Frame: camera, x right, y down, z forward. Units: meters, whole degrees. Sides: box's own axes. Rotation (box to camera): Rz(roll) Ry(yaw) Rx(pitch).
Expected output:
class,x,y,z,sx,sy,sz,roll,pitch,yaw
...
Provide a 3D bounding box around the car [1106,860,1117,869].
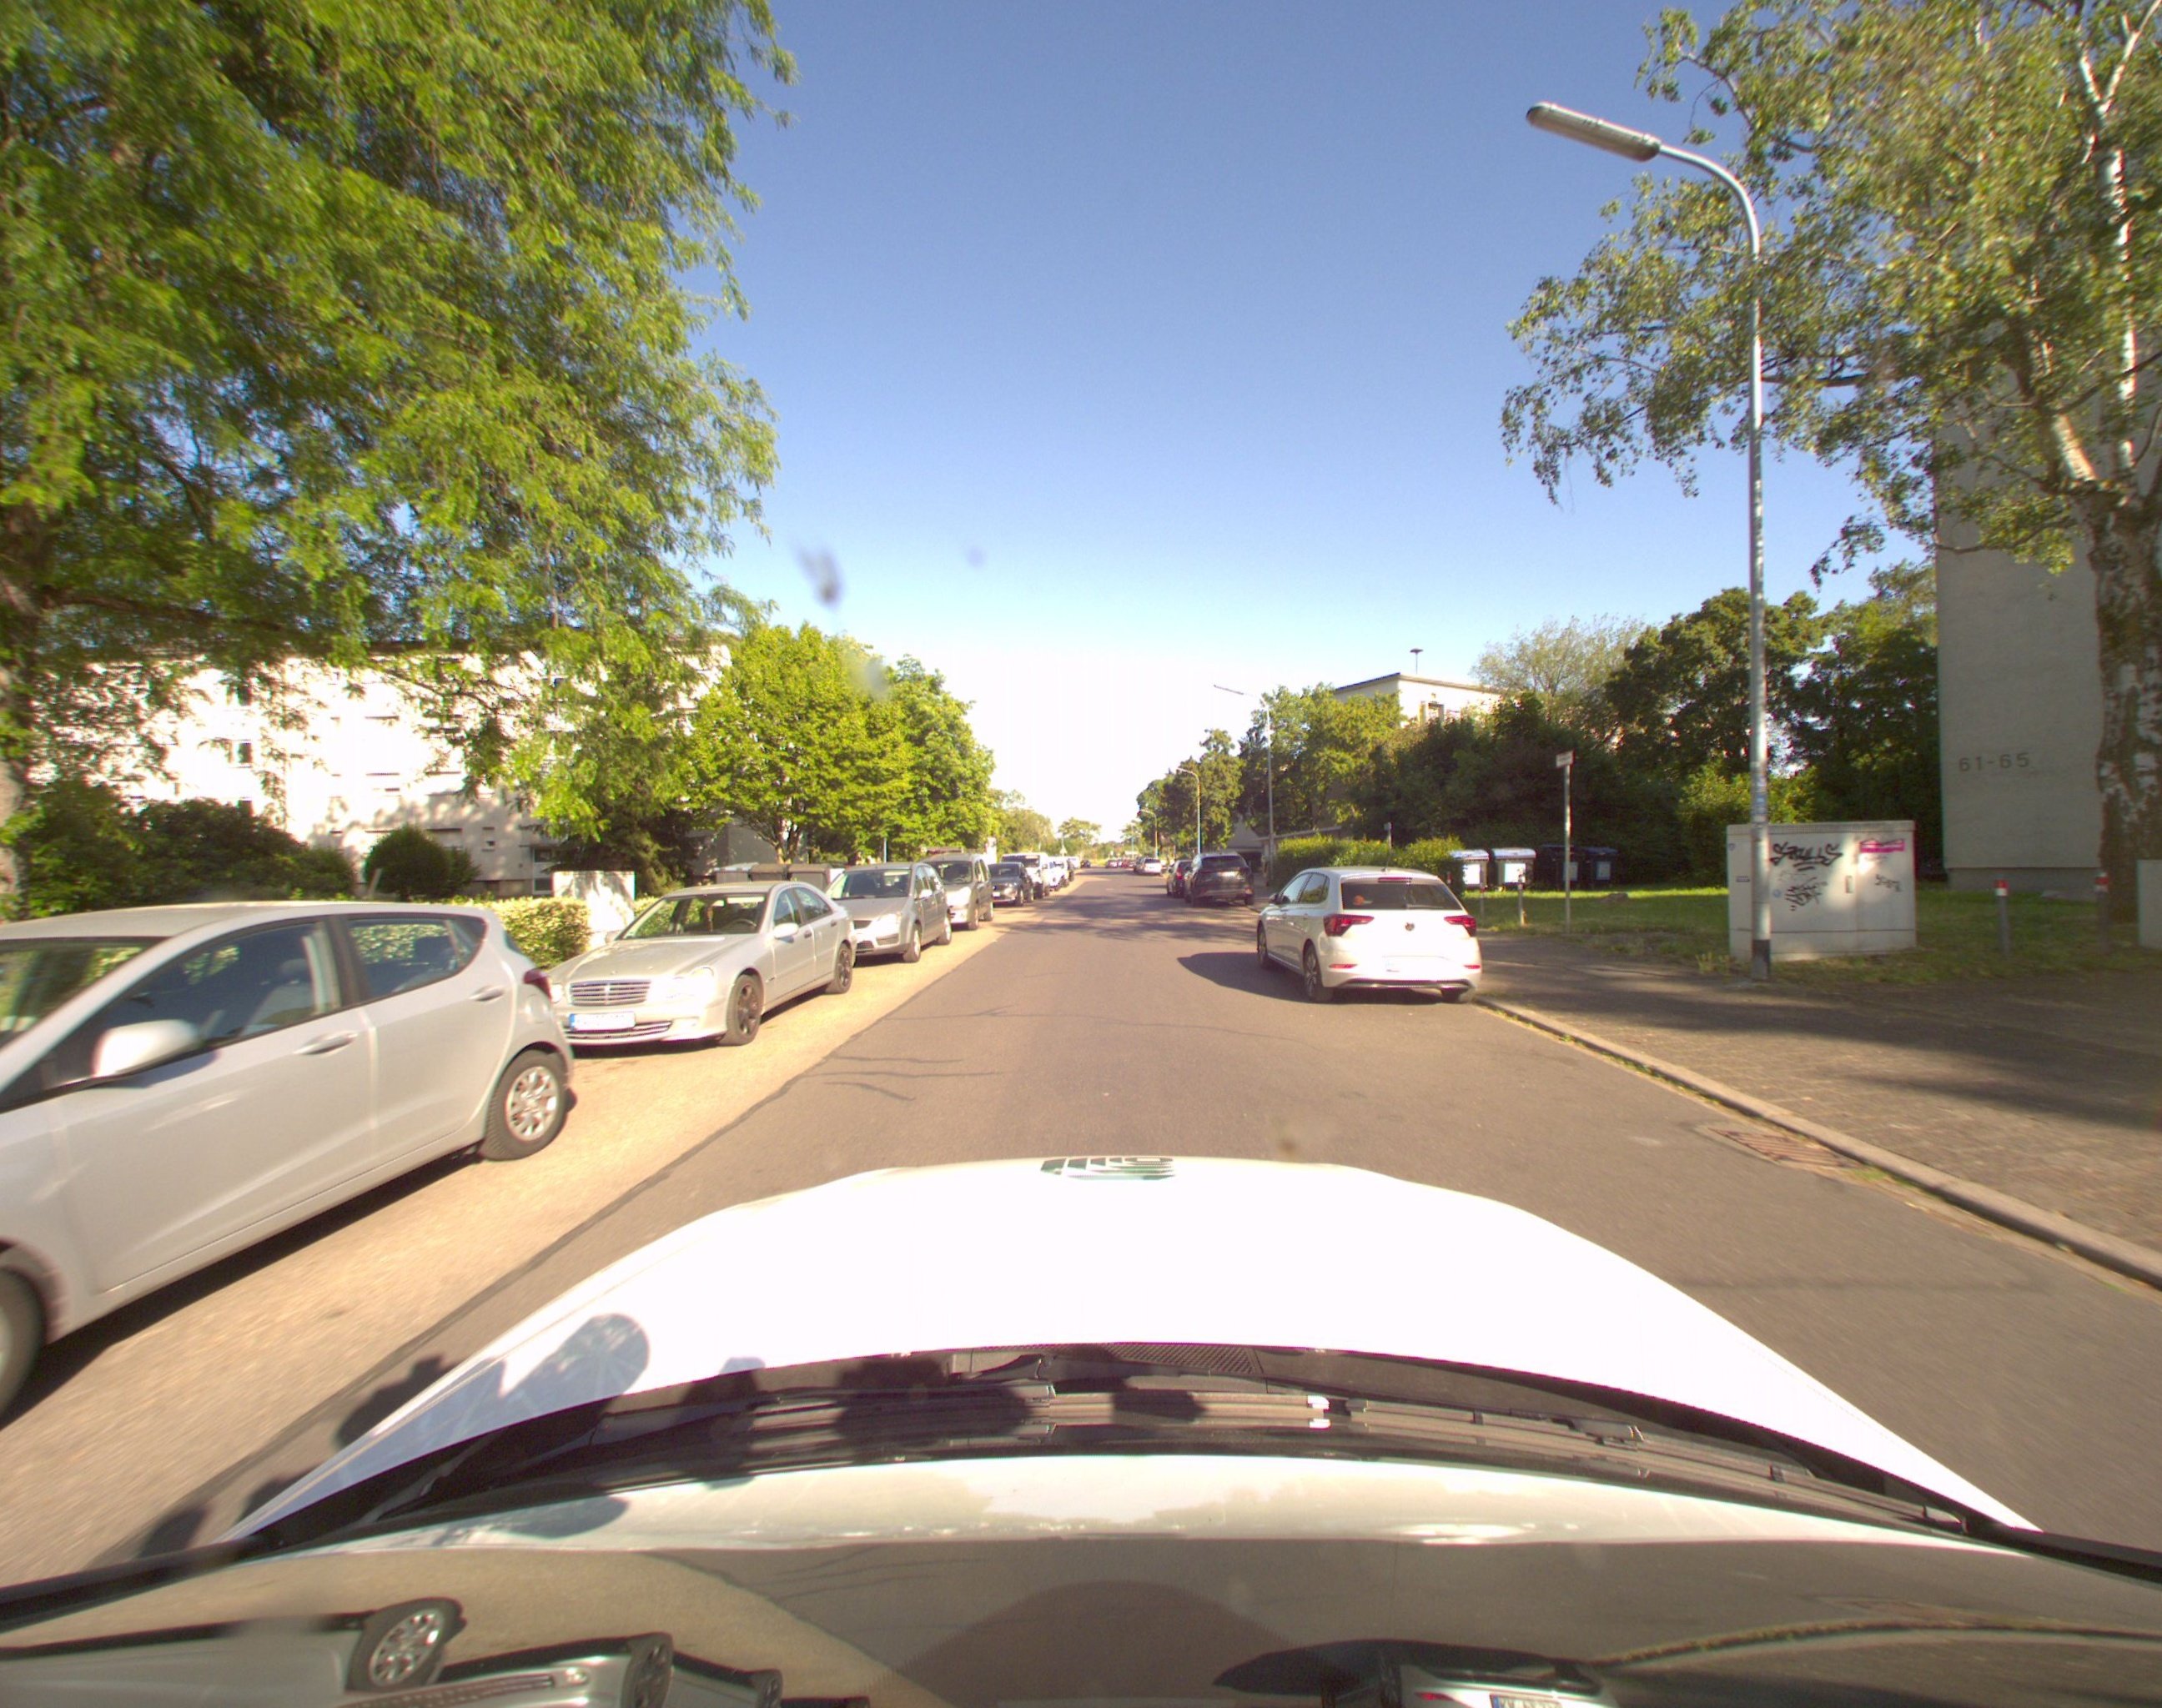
class,x,y,z,sx,sy,sz,roll,pitch,yaw
car,4.921,1.667,131.052,1.674,1.513,4.103,1,0,0

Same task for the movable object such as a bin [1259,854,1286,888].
class,x,y,z,sx,sy,sz,roll,pitch,yaw
movable object such as a bin,8.630,0.759,36.764,0.913,1.454,1.233,-1,-1,2

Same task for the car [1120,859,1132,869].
class,x,y,z,sx,sy,sz,roll,pitch,yaw
car,7.431,1.604,134.755,1.790,1.643,3.951,0,-1,0

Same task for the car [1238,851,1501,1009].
class,x,y,z,sx,sy,sz,roll,pitch,yaw
car,3.183,0.751,9.909,1.748,1.513,4.103,1,0,0

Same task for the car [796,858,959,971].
class,x,y,z,sx,sy,sz,roll,pitch,yaw
car,-3.351,0.921,14.213,1.704,1.600,3.986,-3,-1,1

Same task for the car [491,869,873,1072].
class,x,y,z,sx,sy,sz,roll,pitch,yaw
car,-3.757,0.972,8.739,1.680,1.465,4.527,-3,-1,2

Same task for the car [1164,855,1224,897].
class,x,y,z,sx,sy,sz,roll,pitch,yaw
car,4.355,0.820,31.946,1.900,1.531,4.330,0,-1,2

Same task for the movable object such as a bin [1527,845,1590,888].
class,x,y,z,sx,sy,sz,roll,pitch,yaw
movable object such as a bin,15.539,0.414,26.541,1.253,1.353,1.276,-1,0,-6

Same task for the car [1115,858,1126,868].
class,x,y,z,sx,sy,sz,roll,pitch,yaw
car,6.963,1.562,144.708,1.790,1.643,3.951,0,0,0

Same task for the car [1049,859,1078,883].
class,x,y,z,sx,sy,sz,roll,pitch,yaw
car,-1.231,1.188,59.181,1.739,1.613,4.310,-2,-1,2

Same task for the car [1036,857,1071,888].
class,x,y,z,sx,sy,sz,roll,pitch,yaw
car,-1.638,1.102,49.323,1.739,1.732,4.007,-2,-1,2

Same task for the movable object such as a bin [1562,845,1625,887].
class,x,y,z,sx,sy,sz,roll,pitch,yaw
movable object such as a bin,16.983,0.402,27.023,1.254,1.353,1.275,-1,0,-8

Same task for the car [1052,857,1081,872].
class,x,y,z,sx,sy,sz,roll,pitch,yaw
car,-2.096,1.490,114.545,4.044,1.992,1.800,0,-1,-3

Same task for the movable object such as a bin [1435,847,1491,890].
class,x,y,z,sx,sy,sz,roll,pitch,yaw
movable object such as a bin,12.451,0.460,26.590,1.250,1.353,1.279,-1,0,1

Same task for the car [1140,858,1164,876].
class,x,y,z,sx,sy,sz,roll,pitch,yaw
car,6.232,1.163,72.171,1.790,1.562,3.951,0,-1,0

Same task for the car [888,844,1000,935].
class,x,y,z,sx,sy,sz,roll,pitch,yaw
car,-3.207,0.790,19.950,1.848,1.892,4.418,-2,-1,1

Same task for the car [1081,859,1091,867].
class,x,y,z,sx,sy,sz,roll,pitch,yaw
car,0.831,1.635,147.246,1.790,1.562,3.951,0,-1,0

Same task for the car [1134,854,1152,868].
class,x,y,z,sx,sy,sz,roll,pitch,yaw
car,6.990,0.803,92.466,1.790,1.643,3.951,0,-1,0

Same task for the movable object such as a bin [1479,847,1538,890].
class,x,y,z,sx,sy,sz,roll,pitch,yaw
movable object such as a bin,13.831,0.459,26.383,1.250,1.353,1.279,-1,0,1

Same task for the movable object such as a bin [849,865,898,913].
class,x,y,z,sx,sy,sz,roll,pitch,yaw
movable object such as a bin,-6.518,1.077,25.634,1.097,1.421,1.362,1,0,2

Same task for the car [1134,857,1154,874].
class,x,y,z,sx,sy,sz,roll,pitch,yaw
car,6.766,1.249,87.890,1.790,1.786,3.951,0,-1,0

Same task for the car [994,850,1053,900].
class,x,y,z,sx,sy,sz,roll,pitch,yaw
car,-2.394,0.865,35.365,1.907,1.962,5.091,-2,-1,3

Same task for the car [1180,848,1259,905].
class,x,y,z,sx,sy,sz,roll,pitch,yaw
car,4.321,0.674,26.093,1.900,1.639,4.631,0,-1,2

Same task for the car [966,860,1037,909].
class,x,y,z,sx,sy,sz,roll,pitch,yaw
car,-2.726,1.036,28.897,1.738,1.533,4.144,-2,-1,5

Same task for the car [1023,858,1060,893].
class,x,y,z,sx,sy,sz,roll,pitch,yaw
car,-2.050,1.115,43.472,1.741,1.669,4.376,-2,-1,0

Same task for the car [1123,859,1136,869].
class,x,y,z,sx,sy,sz,roll,pitch,yaw
car,7.525,1.590,127.567,1.790,1.549,3.951,0,-1,0

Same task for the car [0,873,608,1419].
class,x,y,z,sx,sy,sz,roll,pitch,yaw
car,-3.917,0.884,3.309,1.681,1.505,3.818,-2,0,1
